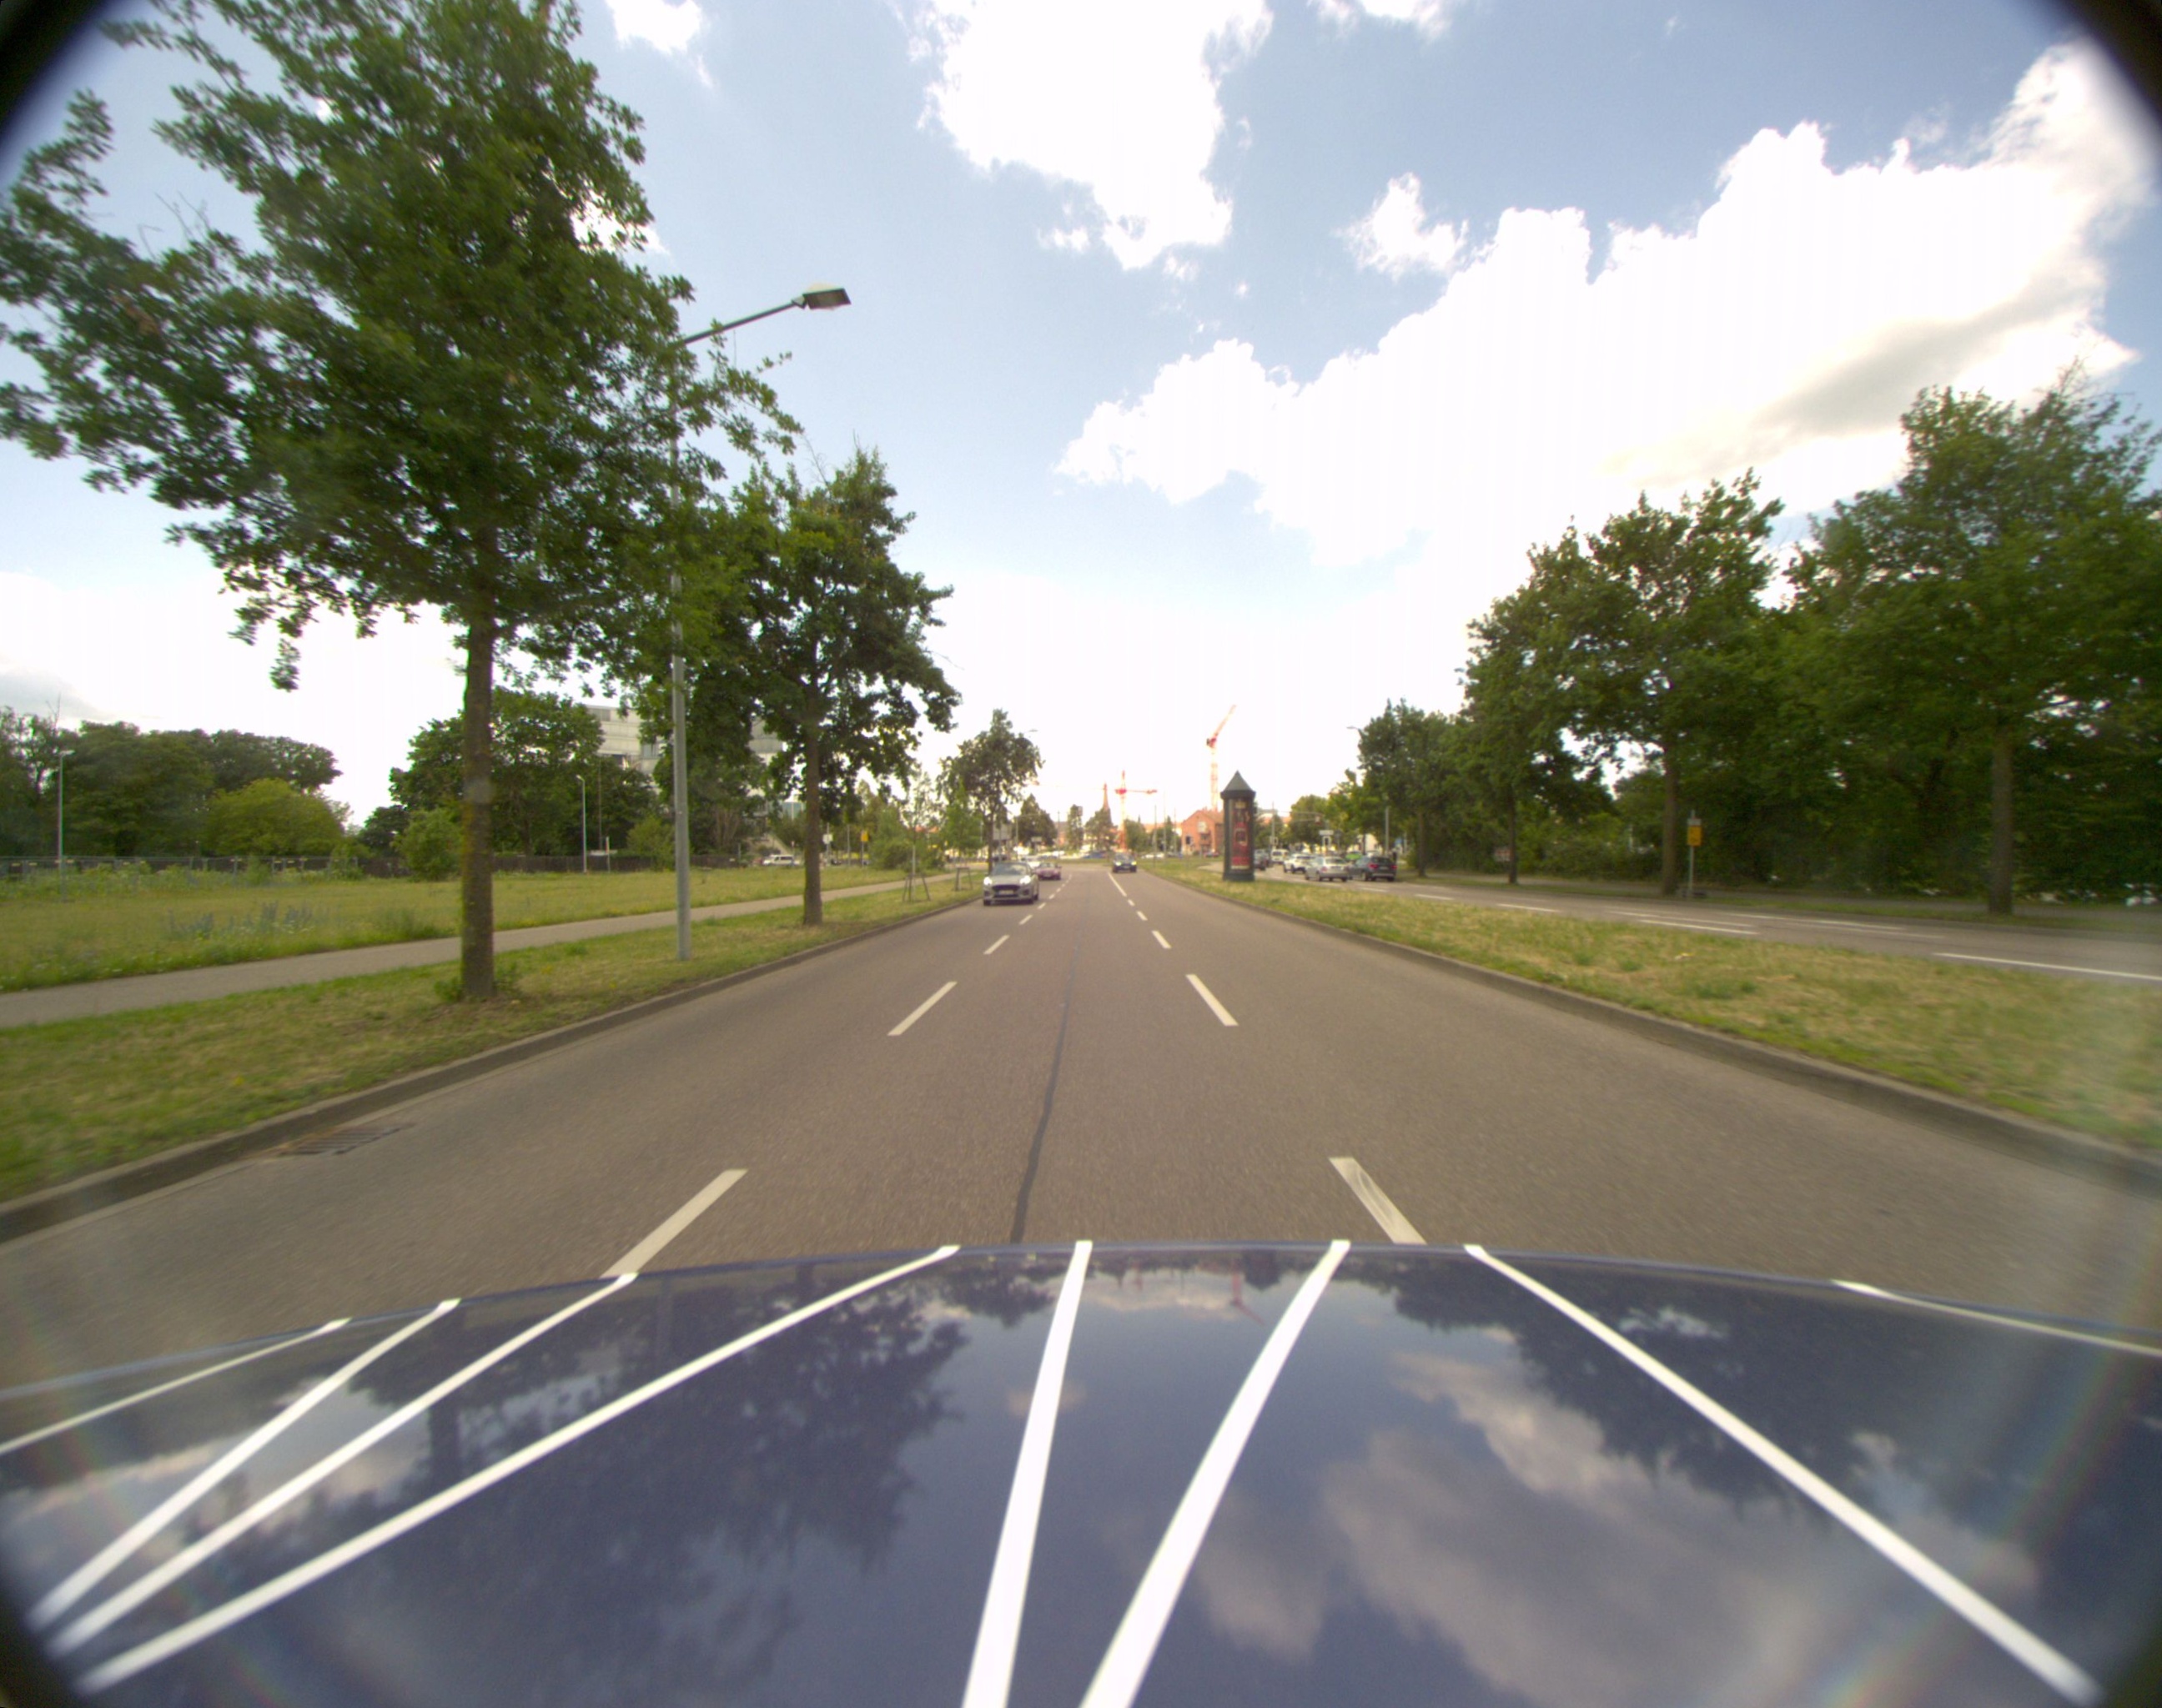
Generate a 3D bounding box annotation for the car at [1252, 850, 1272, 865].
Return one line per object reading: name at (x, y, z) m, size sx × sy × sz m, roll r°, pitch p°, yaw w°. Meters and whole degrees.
car at (18.903, 0.372, 79.604) m, size 1.840 × 1.471 × 4.757 m, roll 1°, pitch 1°, yaw 12°

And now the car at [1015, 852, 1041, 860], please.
car at (-9.648, 0.325, 137.969) m, size 4.313 × 1.322 × 1.997 m, roll -1°, pitch 0°, yaw -15°

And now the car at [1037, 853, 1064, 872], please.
car at (-2.161, 0.586, 54.272) m, size 1.674 × 1.254 × 4.092 m, roll 0°, pitch 0°, yaw 1°

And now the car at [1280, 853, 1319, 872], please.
car at (17.707, 0.657, 61.782) m, size 1.914 × 1.532 × 4.368 m, roll 0°, pitch 0°, yaw 1°

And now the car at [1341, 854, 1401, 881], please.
car at (17.644, 0.786, 46.515) m, size 1.767 × 1.568 × 5.031 m, roll 0°, pitch 0°, yaw 1°

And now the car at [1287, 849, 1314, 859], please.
car at (36.653, -0.042, 126.894) m, size 2.280 × 1.677 × 4.782 m, roll -1°, pitch 1°, yaw -12°

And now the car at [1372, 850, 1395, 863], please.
car at (42.196, 0.353, 105.950) m, size 1.994 × 1.677 × 4.797 m, roll 0°, pitch 1°, yaw 33°

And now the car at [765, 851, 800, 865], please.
car at (-50.054, 0.692, 127.620) m, size 2.143 × 2.135 × 5.161 m, roll -1°, pitch 0°, yaw 30°

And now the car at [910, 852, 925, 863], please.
car at (-26.026, 0.580, 121.269) m, size 2.000 × 1.751 × 4.292 m, roll -1°, pitch 0°, yaw -8°

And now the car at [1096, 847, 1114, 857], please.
car at (5.620, -0.526, 178.907) m, size 2.396 × 2.184 × 6.828 m, roll -1°, pitch 0°, yaw -16°

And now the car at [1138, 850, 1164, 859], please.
car at (13.294, 0.076, 144.380) m, size 4.498 × 1.513 × 2.127 m, roll -1°, pitch 0°, yaw 18°

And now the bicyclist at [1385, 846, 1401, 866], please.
bicyclist at (24.057, 0.145, 58.521) m, size 0.832 × 1.556 × 0.883 m, roll -3°, pitch 1°, yaw 1°

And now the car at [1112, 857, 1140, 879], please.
car at (3.800, 1.146, 64.799) m, size 1.775 × 1.590 × 4.124 m, roll -2°, pitch 2°, yaw -4°

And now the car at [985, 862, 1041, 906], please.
car at (-2.470, 1.057, 28.453) m, size 1.674 × 1.462 × 4.092 m, roll 0°, pitch 0°, yaw 1°

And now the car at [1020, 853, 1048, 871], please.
car at (-4.548, 0.745, 72.821) m, size 1.676 × 1.589 × 4.121 m, roll -3°, pitch 1°, yaw -16°

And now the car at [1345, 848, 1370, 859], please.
car at (34.398, -0.039, 94.518) m, size 1.616 × 1.340 × 4.180 m, roll 2°, pitch 1°, yaw 39°

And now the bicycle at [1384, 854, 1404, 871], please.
bicycle at (24.092, 0.649, 58.522) m, size 0.762 × 1.212 × 2.016 m, roll -3°, pitch 1°, yaw 1°

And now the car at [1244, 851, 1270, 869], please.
car at (15.832, 0.500, 68.566) m, size 1.726 × 1.581 × 5.015 m, roll 0°, pitch 0°, yaw 6°

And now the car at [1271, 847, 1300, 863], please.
car at (23.909, 0.054, 88.726) m, size 1.838 × 1.789 × 4.798 m, roll 2°, pitch 1°, yaw 35°

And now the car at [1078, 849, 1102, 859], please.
car at (1.662, -0.052, 141.386) m, size 4.404 × 1.788 × 1.756 m, roll -1°, pitch 0°, yaw 0°

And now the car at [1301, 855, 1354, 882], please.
car at (14.320, 0.815, 44.424) m, size 1.767 × 1.431 × 4.309 m, roll 0°, pitch 0°, yaw 1°

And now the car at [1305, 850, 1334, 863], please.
car at (26.573, 0.252, 84.537) m, size 1.838 × 1.435 × 4.428 m, roll 2°, pitch 1°, yaw 35°

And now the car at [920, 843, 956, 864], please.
car at (-19.528, -0.049, 103.345) m, size 2.289 × 2.836 × 7.237 m, roll -1°, pitch 0°, yaw -33°
